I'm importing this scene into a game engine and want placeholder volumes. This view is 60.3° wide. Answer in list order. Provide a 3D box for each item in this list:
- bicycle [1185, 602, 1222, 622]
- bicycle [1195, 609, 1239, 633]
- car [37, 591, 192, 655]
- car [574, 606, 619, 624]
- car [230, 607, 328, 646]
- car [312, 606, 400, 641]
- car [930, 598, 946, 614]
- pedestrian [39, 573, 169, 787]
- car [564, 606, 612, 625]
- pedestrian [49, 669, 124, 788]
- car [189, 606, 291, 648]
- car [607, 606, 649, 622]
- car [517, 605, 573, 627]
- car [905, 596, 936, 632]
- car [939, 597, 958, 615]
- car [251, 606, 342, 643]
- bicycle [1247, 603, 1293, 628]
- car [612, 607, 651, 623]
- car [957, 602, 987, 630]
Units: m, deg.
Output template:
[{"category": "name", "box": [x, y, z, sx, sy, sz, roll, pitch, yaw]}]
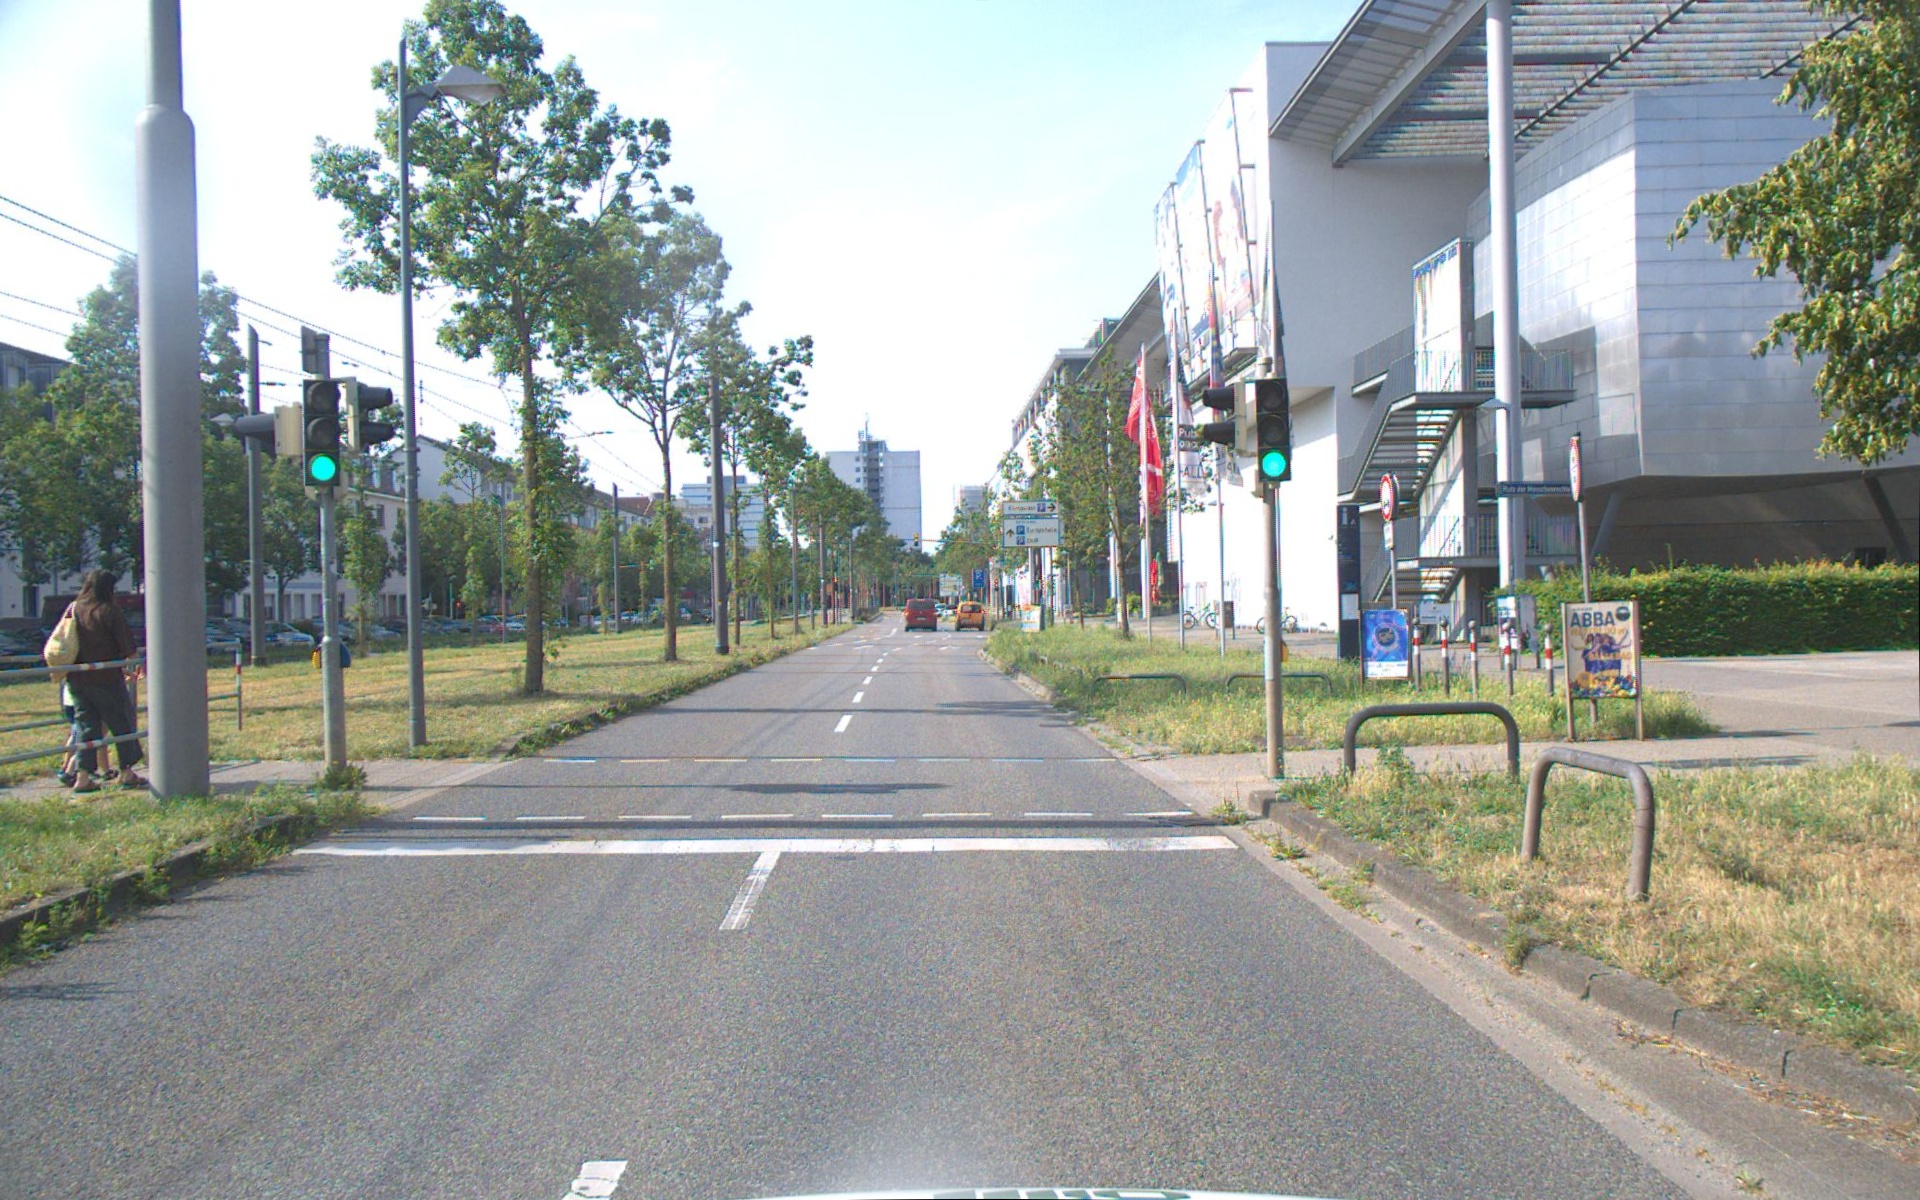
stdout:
[{"category": "bicycle", "box": [11.197, 0.569, 76.032, 1.588, 0.903, 0.551, 1, 0, 0]}, {"category": "bicycle", "box": [9.972, 0.824, 64.218, 1.589, 0.903, 0.550, 1, 0, -3]}, {"category": "car", "box": [-28.699, 0.764, 56.142, 5.113, 2.049, 1.876, 1, 0, 24]}, {"category": "car", "box": [-33.772, 1.358, 153.644, 3.907, 1.624, 1.654, 1, 0, 24]}, {"category": "car", "box": [-28.371, 1.081, 68.898, 3.907, 1.557, 1.463, 1, 0, 24]}, {"category": "car", "box": [-28.845, 1.105, 78.987, 3.907, 1.624, 1.654, 1, 0, 24]}, {"category": "car", "box": [-2.423, 0.653, 180.528, 1.713, 1.679, 3.215, 1, 0, -1]}, {"category": "pedestrian", "box": [-6.601, 0.604, 12.787, 0.612, 1.599, 0.711, 1, -1, -1]}, {"category": "car", "box": [-32.708, 1.341, 145.306, 3.907, 1.624, 1.654, 1, 0, 24]}, {"category": "pedestrian", "box": [-6.861, 1.002, 13.002, 0.334, 0.890, 0.461, 1, 0, -1]}, {"category": "car", "box": [-28.699, 1.064, 65.903, 3.907, 1.557, 1.463, 1, 0, 24]}, {"category": "car", "box": [-34.021, 1.418, 169.490, 3.907, 1.624, 1.654, 1, 0, 24]}, {"category": "car", "box": [-31.618, 1.220, 126.002, 3.907, 1.624, 1.654, 1, 0, 24]}, {"category": "car", "box": [-2.270, 0.809, 95.953, 1.713, 2.049, 3.215, 1, 0, -1]}, {"category": "car", "box": [-1.048, 0.570, 154.366, 1.713, 1.679, 3.215, 1, 0, -1]}, {"category": "car", "box": [-29.675, 1.082, 73.948, 3.907, 1.557, 1.463, 1, 0, 24]}, {"category": "bicycle", "box": [11.471, 0.573, 61.246, 1.589, 0.903, 0.550, 1, 0, -3]}, {"category": "car", "box": [-35.633, 1.599, 179.495, 3.907, 1.624, 1.654, 1, 0, 24]}, {"category": "car", "box": [0.690, 0.951, 100.097, 1.713, 1.679, 3.215, 1, 0, -1]}]
